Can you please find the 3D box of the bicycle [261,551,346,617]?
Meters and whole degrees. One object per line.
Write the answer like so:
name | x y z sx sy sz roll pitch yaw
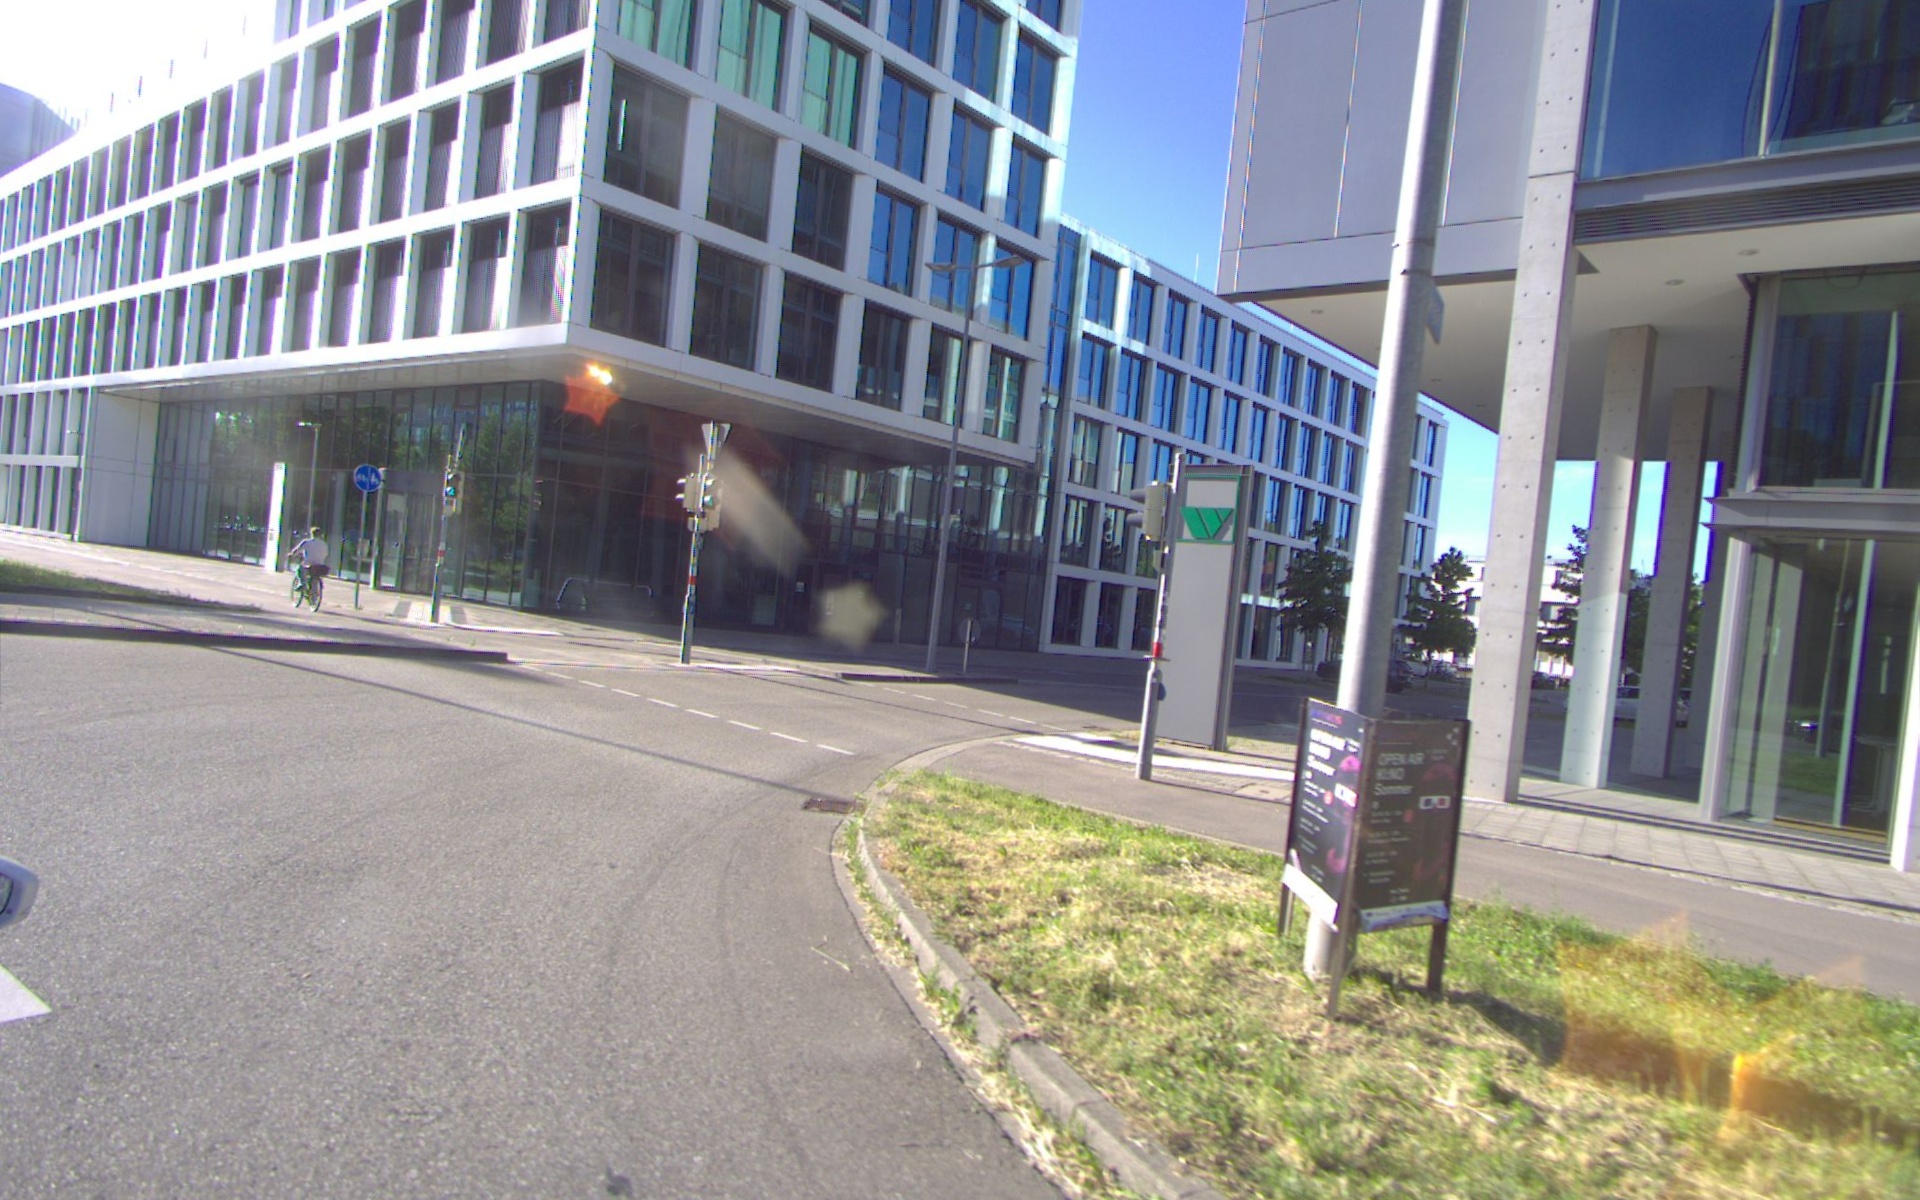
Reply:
bicycle | -13.857 -0.351 21.220 1.930 1.189 0.741 6 1 35

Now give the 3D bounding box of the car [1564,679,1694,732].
car | 26.808 4.202 40.402 1.649 1.523 3.951 6 0 -43

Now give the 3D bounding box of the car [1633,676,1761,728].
car | 34.270 4.740 46.868 1.780 1.749 4.407 6 0 -41

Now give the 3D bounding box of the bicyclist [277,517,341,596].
bicyclist | -13.677 -0.908 21.130 0.836 1.551 0.771 6 1 34

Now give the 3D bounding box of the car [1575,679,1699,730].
car | 28.369 4.371 42.248 1.649 1.523 3.951 6 0 -43

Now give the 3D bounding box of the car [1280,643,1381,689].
car | 18.293 3.244 49.807 4.236 1.734 1.652 6 0 42

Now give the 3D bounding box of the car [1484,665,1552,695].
car | 43.299 6.200 78.075 1.856 1.816 4.081 6 0 -42
